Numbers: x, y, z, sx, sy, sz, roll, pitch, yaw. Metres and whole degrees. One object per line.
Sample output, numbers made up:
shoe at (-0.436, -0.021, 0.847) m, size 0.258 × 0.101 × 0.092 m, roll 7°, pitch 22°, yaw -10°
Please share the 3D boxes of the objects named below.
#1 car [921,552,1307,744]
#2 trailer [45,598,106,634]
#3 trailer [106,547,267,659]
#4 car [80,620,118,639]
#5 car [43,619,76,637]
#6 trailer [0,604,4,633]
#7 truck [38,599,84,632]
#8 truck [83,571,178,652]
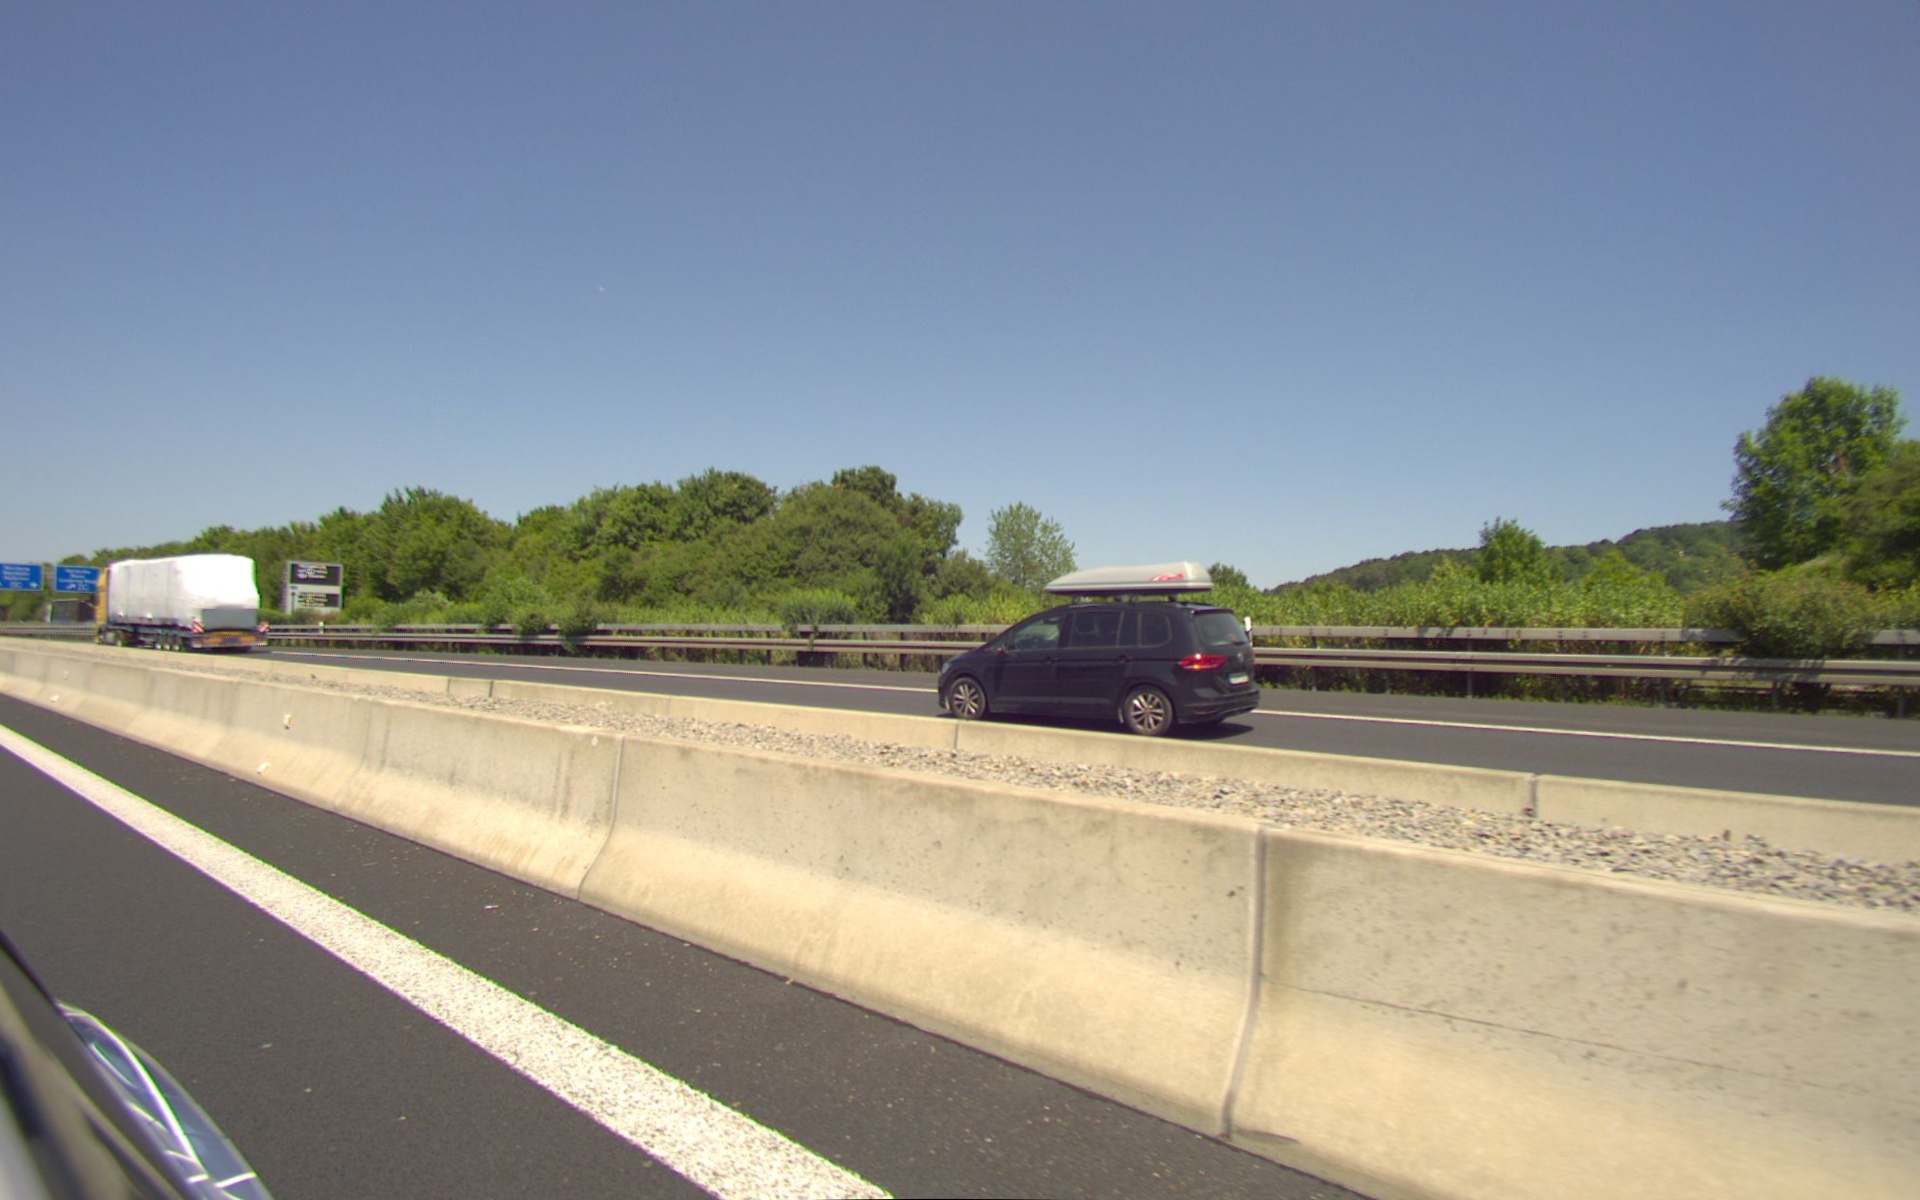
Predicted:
car at (1.871, 0.571, 13.312) m, size 4.700 × 2.097 × 1.973 m, roll -1°, pitch -2°, yaw 40°
trailer at (-106.959, 1.899, 122.282) m, size 13.519 × 4.076 × 3.189 m, roll -1°, pitch -1°, yaw 39°
trailer at (-34.246, 0.189, 44.507) m, size 12.810 × 4.345 × 2.691 m, roll -1°, pitch -1°, yaw 39°
car at (-85.276, 2.952, 100.230) m, size 4.424 × 1.872 × 1.974 m, roll -1°, pitch -3°, yaw 38°
car at (-98.878, 3.066, 111.109) m, size 4.424 × 1.872 × 1.974 m, roll -1°, pitch -3°, yaw 38°
trailer at (-152.366, 2.895, 158.153) m, size 11.639 × 4.467 × 2.767 m, roll -1°, pitch -1°, yaw 39°
truck at (-112.573, 1.960, 126.764) m, size 6.631 × 4.076 × 3.189 m, roll -1°, pitch -1°, yaw 38°
truck at (-41.082, 0.563, 50.093) m, size 4.861 × 3.783 × 2.722 m, roll -1°, pitch -1°, yaw 40°
